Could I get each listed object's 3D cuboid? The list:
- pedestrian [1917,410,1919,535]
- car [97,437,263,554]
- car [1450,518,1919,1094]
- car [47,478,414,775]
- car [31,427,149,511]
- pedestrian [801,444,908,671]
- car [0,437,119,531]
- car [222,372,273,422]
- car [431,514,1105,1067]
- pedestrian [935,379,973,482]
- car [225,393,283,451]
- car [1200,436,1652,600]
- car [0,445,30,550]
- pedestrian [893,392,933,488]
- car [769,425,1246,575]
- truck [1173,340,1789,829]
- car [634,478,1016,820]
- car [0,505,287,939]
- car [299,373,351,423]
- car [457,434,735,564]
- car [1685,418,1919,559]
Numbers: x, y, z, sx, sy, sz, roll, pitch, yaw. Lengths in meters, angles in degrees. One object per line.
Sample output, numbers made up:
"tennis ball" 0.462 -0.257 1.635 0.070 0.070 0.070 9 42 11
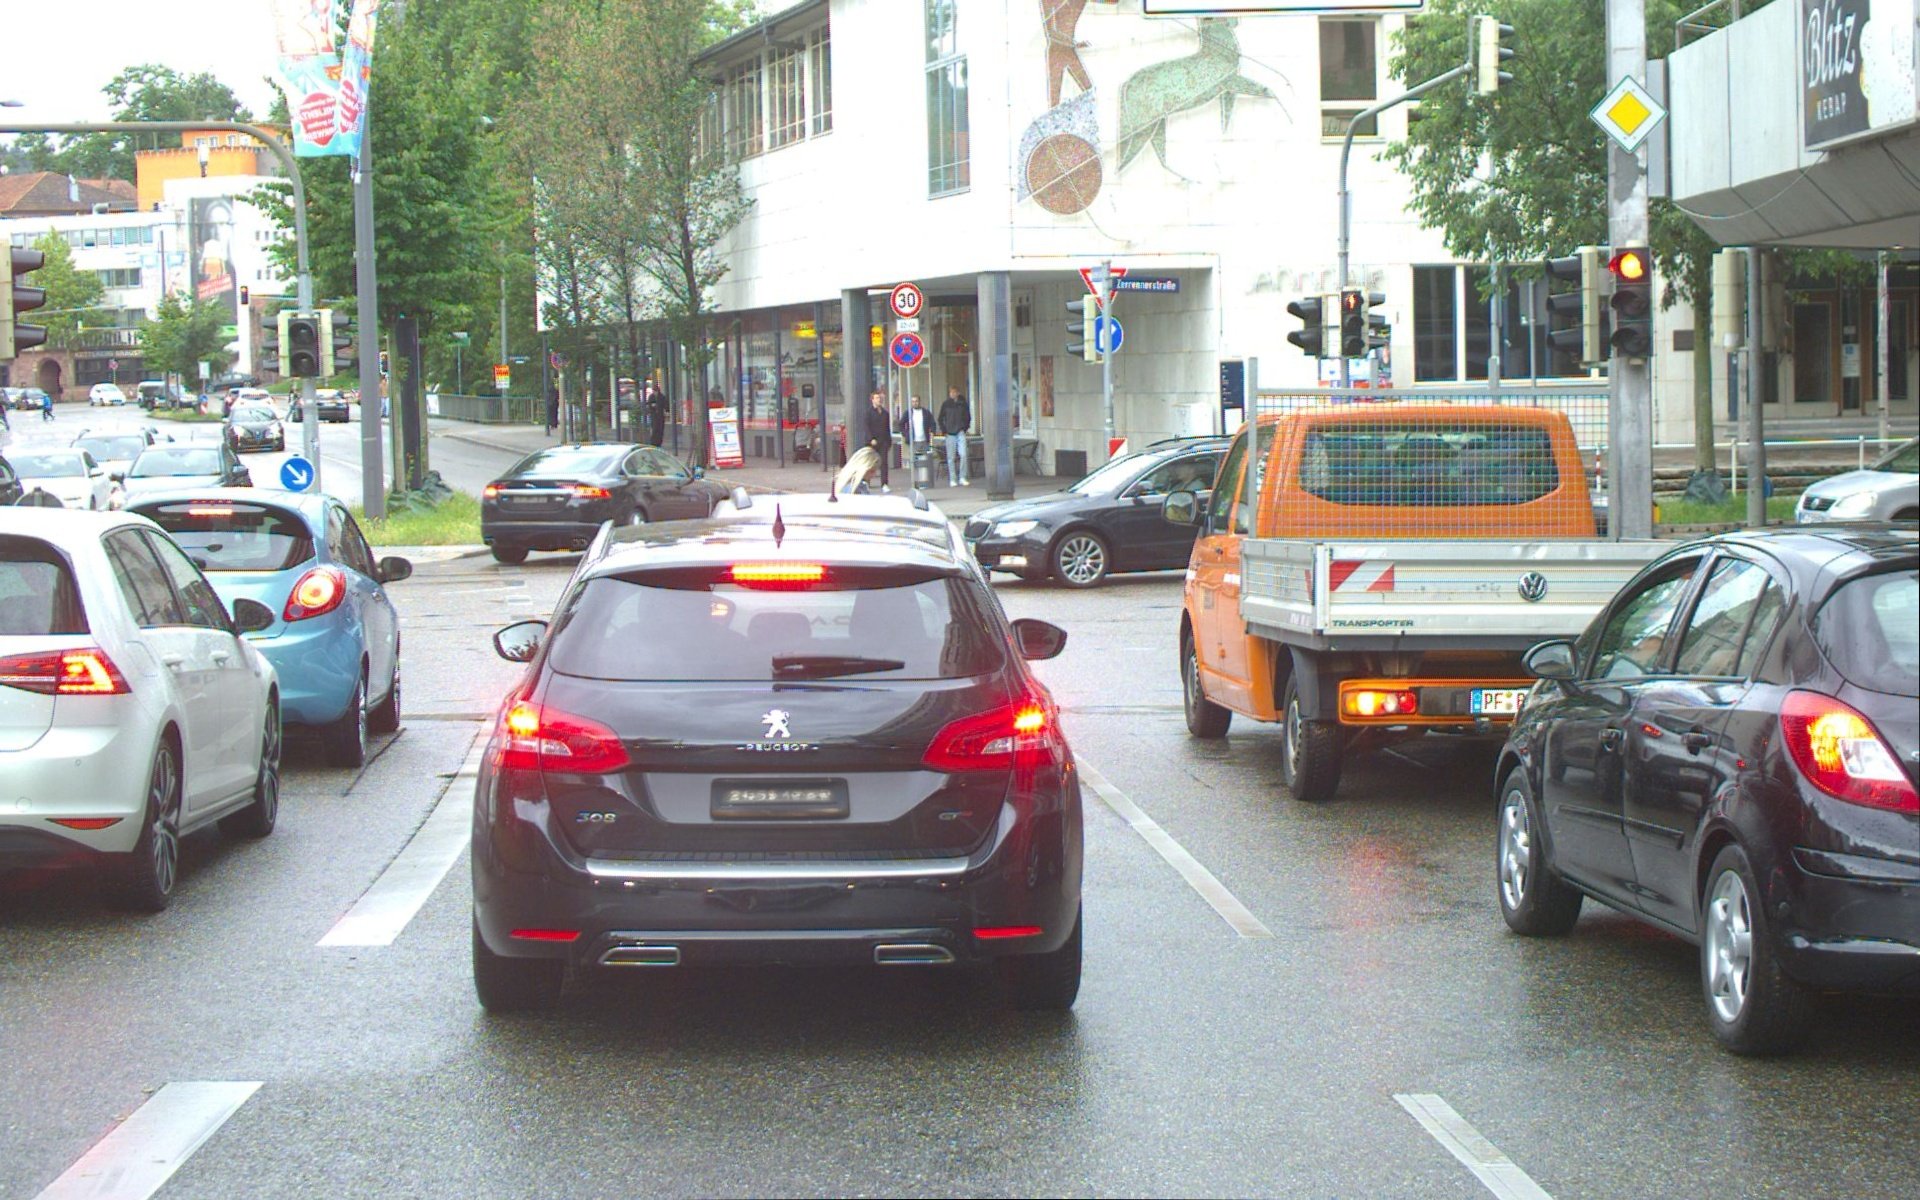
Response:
"pedestrian" 8.188 -0.738 28.334 0.425 1.677 0.450 -2 0 -2
"car" -11.276 -1.481 49.932 1.744 1.574 4.001 1 0 -4
"car" 2.767 0.488 10.733 1.616 1.424 3.843 0 2 -5
"car" -4.031 0.078 19.452 1.632 1.481 3.610 0 2 -6
"car" -15.935 -2.415 63.103 1.632 1.481 3.611 0 2 -7
"pedestrian" -0.788 -0.317 25.797 0.748 1.674 0.709 1 0 2
"car" -14.880 -1.923 56.514 1.632 1.481 3.611 0 2 -7
"car" -30.635 -8.709 147.767 1.705 1.875 4.001 1 0 -18
"car" -0.600 0.463 11.061 1.777 1.424 3.843 1 2 -3
"pedestrian" -0.110 -3.185 64.725 0.637 1.891 0.733 1 0 6
"car" -22.392 -5.623 109.065 1.744 1.634 4.001 1 0 -11
"car" 4.459 -0.767 33.081 3.986 1.481 1.624 1 0 -12
"car" -14.383 -1.464 48.877 1.574 1.481 3.610 1 2 -4
"pedestrian" -0.871 -2.980 64.154 0.637 1.752 0.733 1 0 6
"car" 0.465 -1.047 35.783 4.721 1.481 1.639 0 2 -11
"truck" 2.486 -0.176 17.879 2.177 2.165 5.021 1 2 -3
"car" -0.639 0.155 17.304 1.696 1.481 3.794 1 2 -1
"car" -3.799 0.360 13.486 1.777 1.424 3.843 1 2 -4
"car" -27.464 -8.710 148.668 1.705 1.929 4.001 1 0 -18
"car" -4.462 -1.225 42.917 1.726 1.485 4.729 1 0 17
"car" 10.261 -1.211 38.397 3.894 1.481 1.624 1 0 -13
